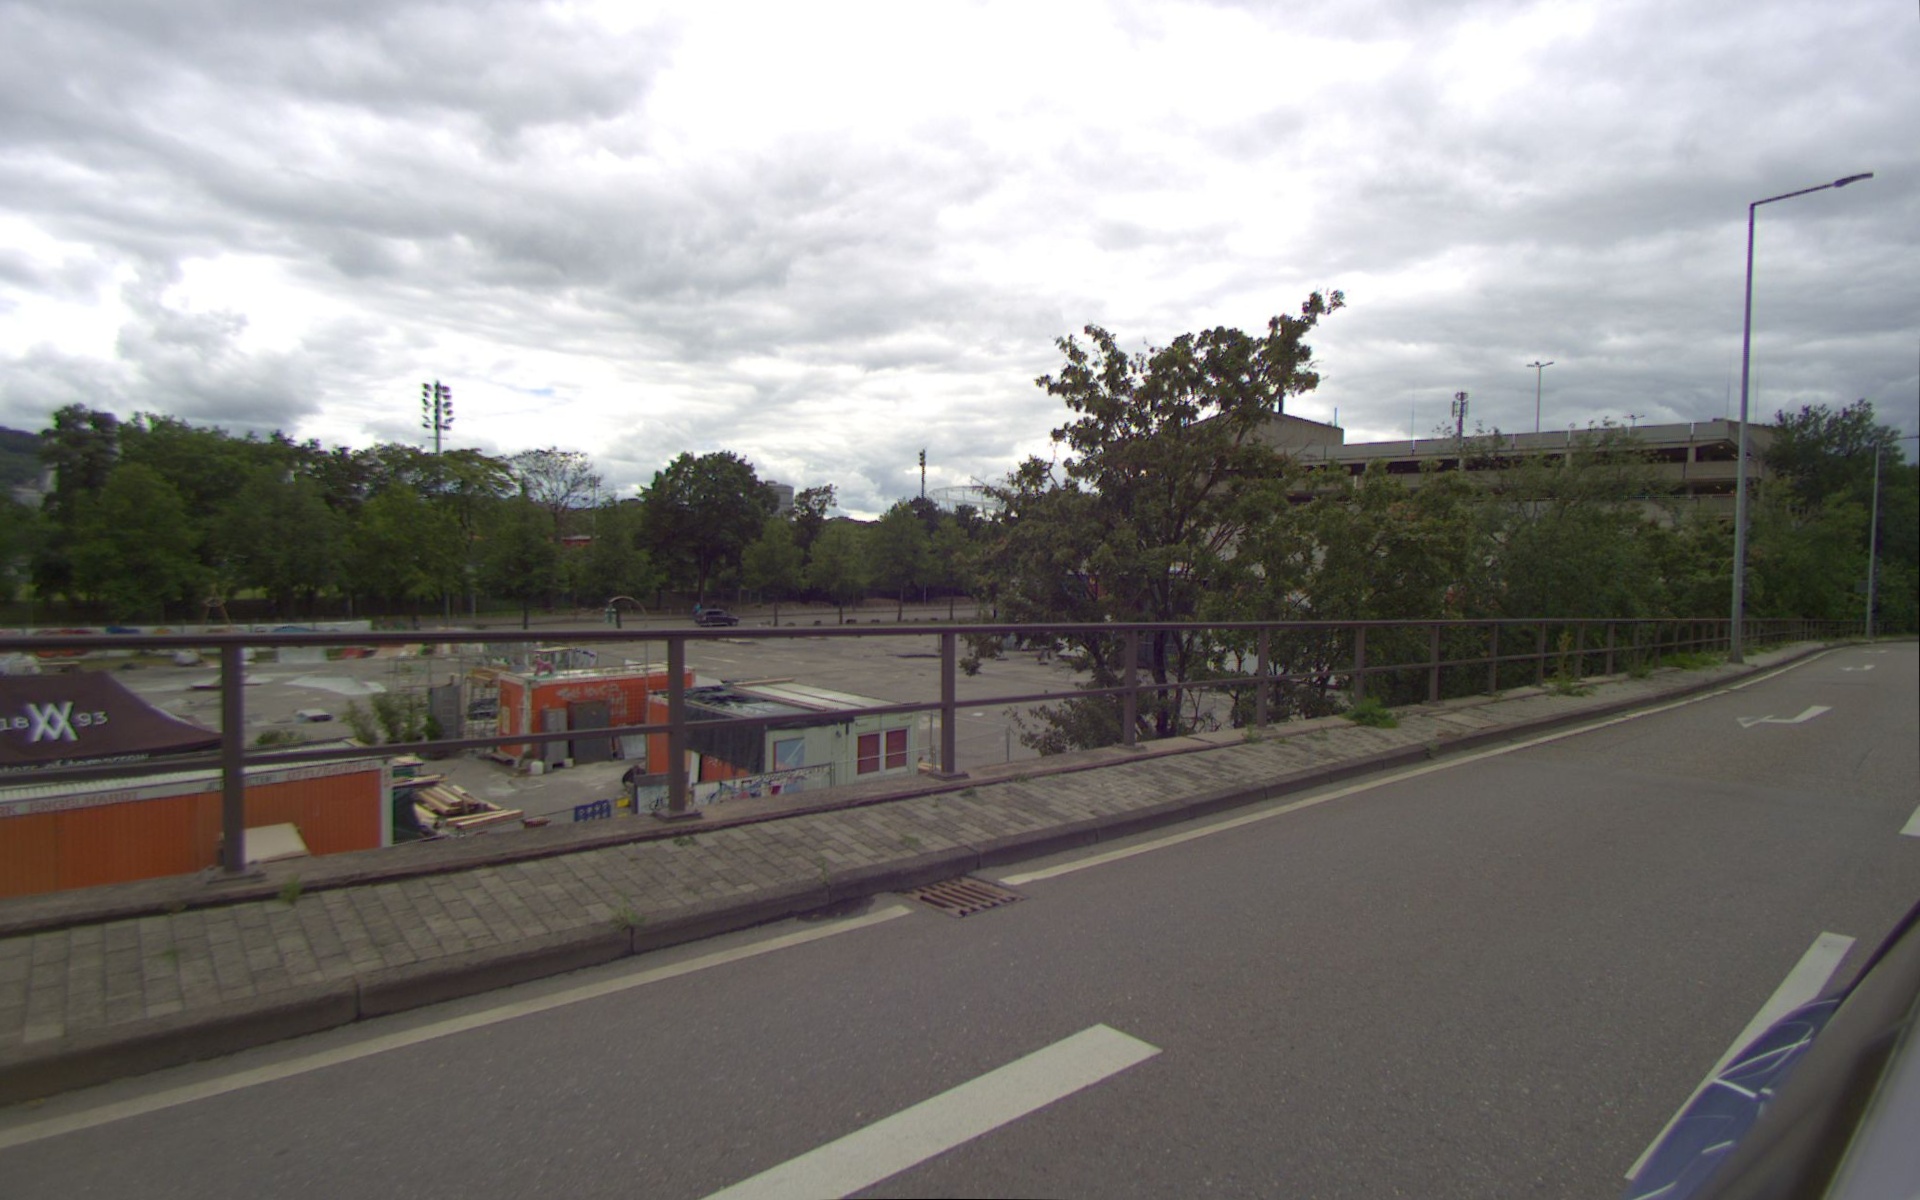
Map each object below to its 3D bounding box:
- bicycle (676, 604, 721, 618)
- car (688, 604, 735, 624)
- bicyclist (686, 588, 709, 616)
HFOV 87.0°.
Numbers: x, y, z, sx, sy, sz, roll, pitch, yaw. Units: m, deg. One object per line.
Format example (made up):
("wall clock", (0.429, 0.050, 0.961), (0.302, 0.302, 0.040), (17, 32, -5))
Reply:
("bicycle", (-26.536, 1.092, 102.824), (4.257, 1.304, 1.500), (-1, 2, -43))
("car", (-23.861, 1.324, 97.364), (1.993, 1.839, 3.936), (-3, -2, 44))
("bicyclist", (-26.634, 0.177, 102.690), (1.840, 2.737, 1.500), (0, 2, -42))
